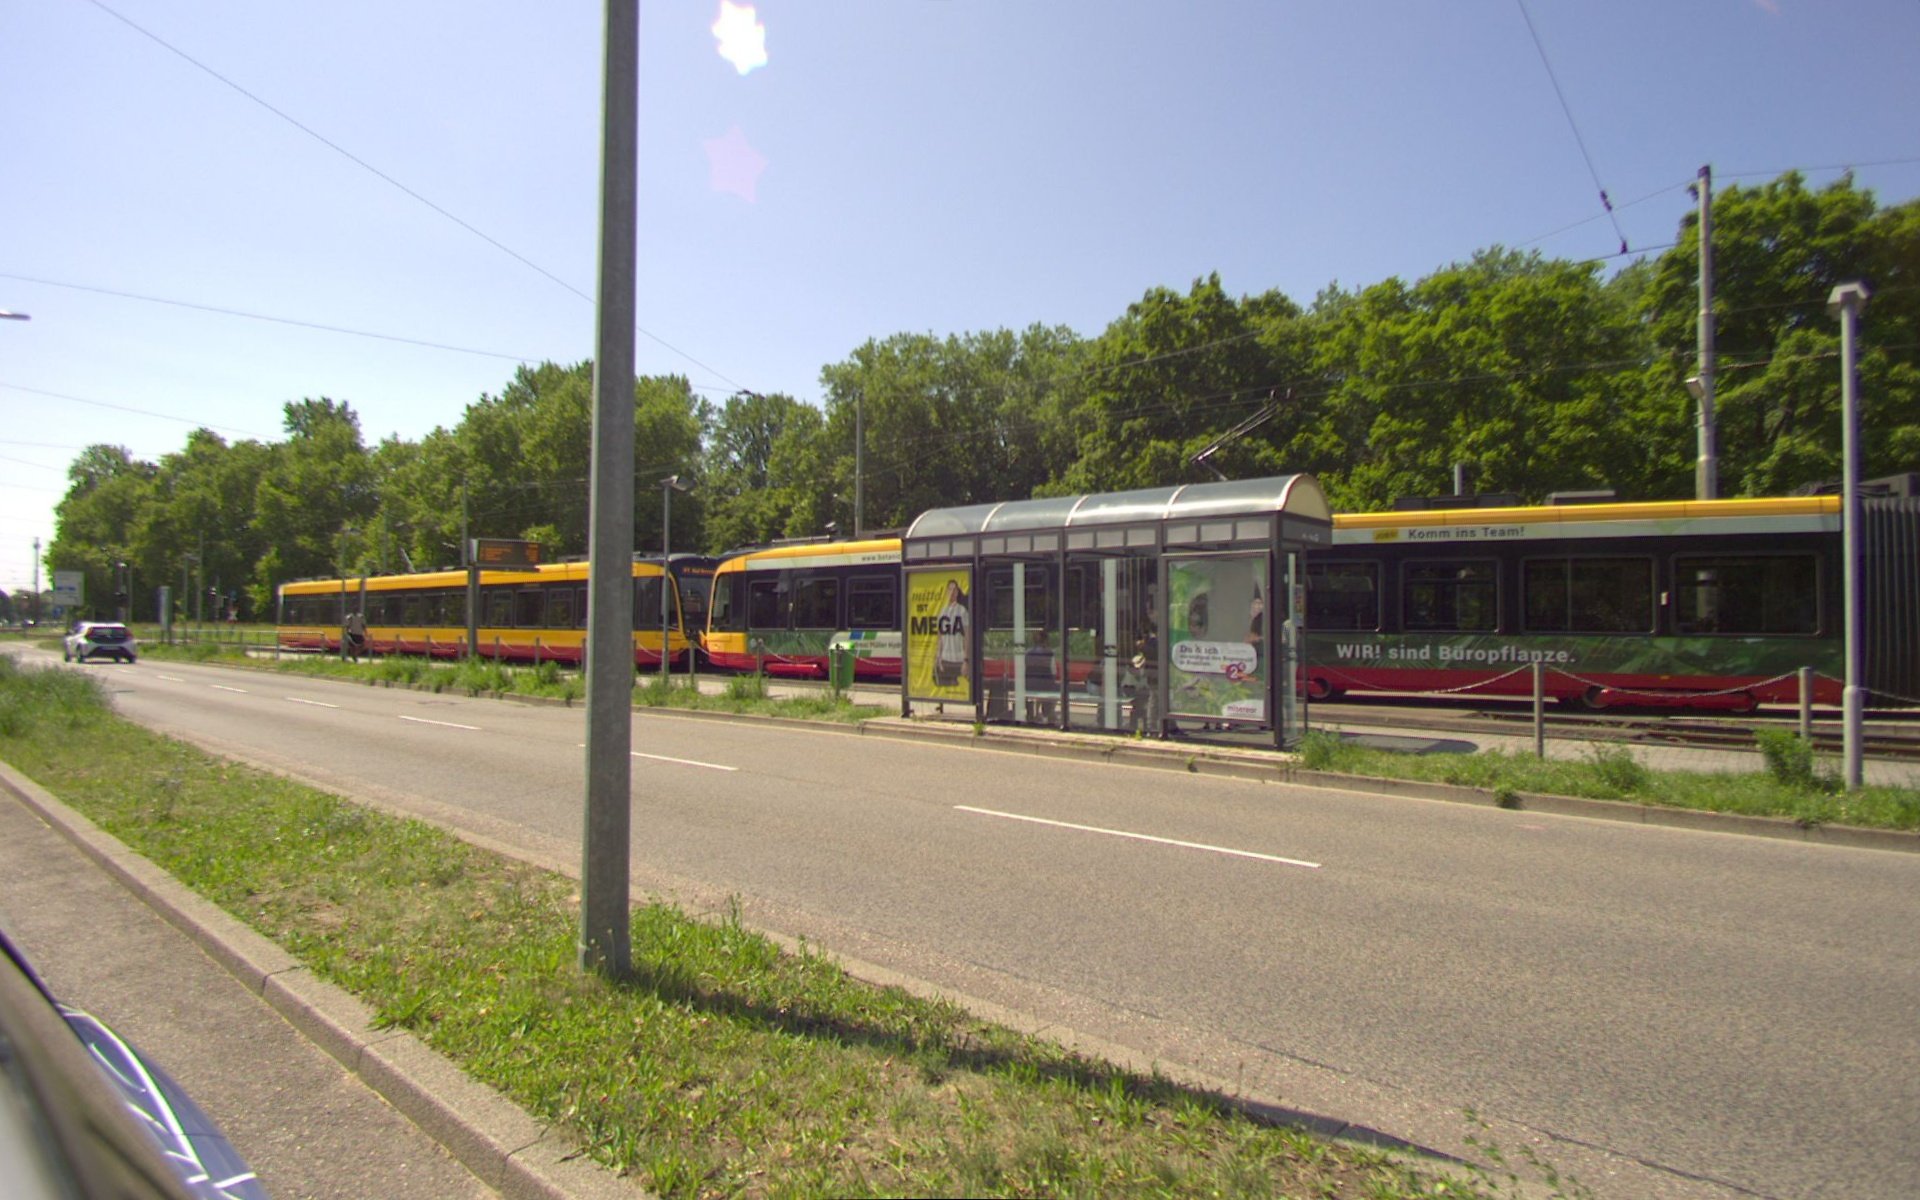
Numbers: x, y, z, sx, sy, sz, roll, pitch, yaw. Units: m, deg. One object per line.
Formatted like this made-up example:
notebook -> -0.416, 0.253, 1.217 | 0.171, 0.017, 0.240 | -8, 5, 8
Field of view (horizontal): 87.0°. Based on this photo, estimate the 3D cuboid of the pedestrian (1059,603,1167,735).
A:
pedestrian -> 1.924, 0.833, 12.713 | 1.025, 1.558, 0.865 | -1, -1, 38

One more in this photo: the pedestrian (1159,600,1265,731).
pedestrian -> 3.173, 0.794, 12.748 | 0.984, 1.558, 0.921 | -1, -1, 38

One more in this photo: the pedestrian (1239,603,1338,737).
pedestrian -> 3.951, 0.807, 12.157 | 0.878, 1.519, 0.826 | -1, -1, 39

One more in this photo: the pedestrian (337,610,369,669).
pedestrian -> -18.815, 1.218, 31.374 | 0.775, 1.804, 0.625 | -1, -1, 39

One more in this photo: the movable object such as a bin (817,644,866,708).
movable object such as a bin -> -1.904, 1.210, 16.242 | 0.644, 0.985, 0.477 | -1, -2, 36

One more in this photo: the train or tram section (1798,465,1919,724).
train or tram section -> 19.814, -0.197, 14.110 | 12.327, 3.652, 3.041 | -1, 0, 13

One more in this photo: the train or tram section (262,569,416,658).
train or tram section -> -30.374, 0.691, 49.158 | 11.532, 3.884, 2.920 | -1, 0, 40

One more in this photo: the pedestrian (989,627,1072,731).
pedestrian -> 0.932, 1.012, 13.357 | 0.839, 1.293, 0.694 | -1, -1, 38

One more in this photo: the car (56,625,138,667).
car -> -32.869, 1.728, 38.523 | 3.716, 1.516, 1.751 | -1, -2, 40

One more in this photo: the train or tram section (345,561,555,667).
train or tram section -> -21.140, 0.605, 41.327 | 12.586, 3.770, 3.013 | -1, 0, 41

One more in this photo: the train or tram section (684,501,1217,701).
train or tram section -> -1.065, 0.137, 24.082 | 13.881, 3.652, 3.014 | -1, 0, 39

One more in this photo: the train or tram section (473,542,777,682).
train or tram section -> -11.384, 0.442, 32.915 | 13.254, 3.795, 3.012 | -1, 0, 41

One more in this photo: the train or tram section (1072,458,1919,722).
train or tram section -> 8.387, -0.019, 17.955 | 12.376, 3.652, 3.029 | -1, 0, 24
